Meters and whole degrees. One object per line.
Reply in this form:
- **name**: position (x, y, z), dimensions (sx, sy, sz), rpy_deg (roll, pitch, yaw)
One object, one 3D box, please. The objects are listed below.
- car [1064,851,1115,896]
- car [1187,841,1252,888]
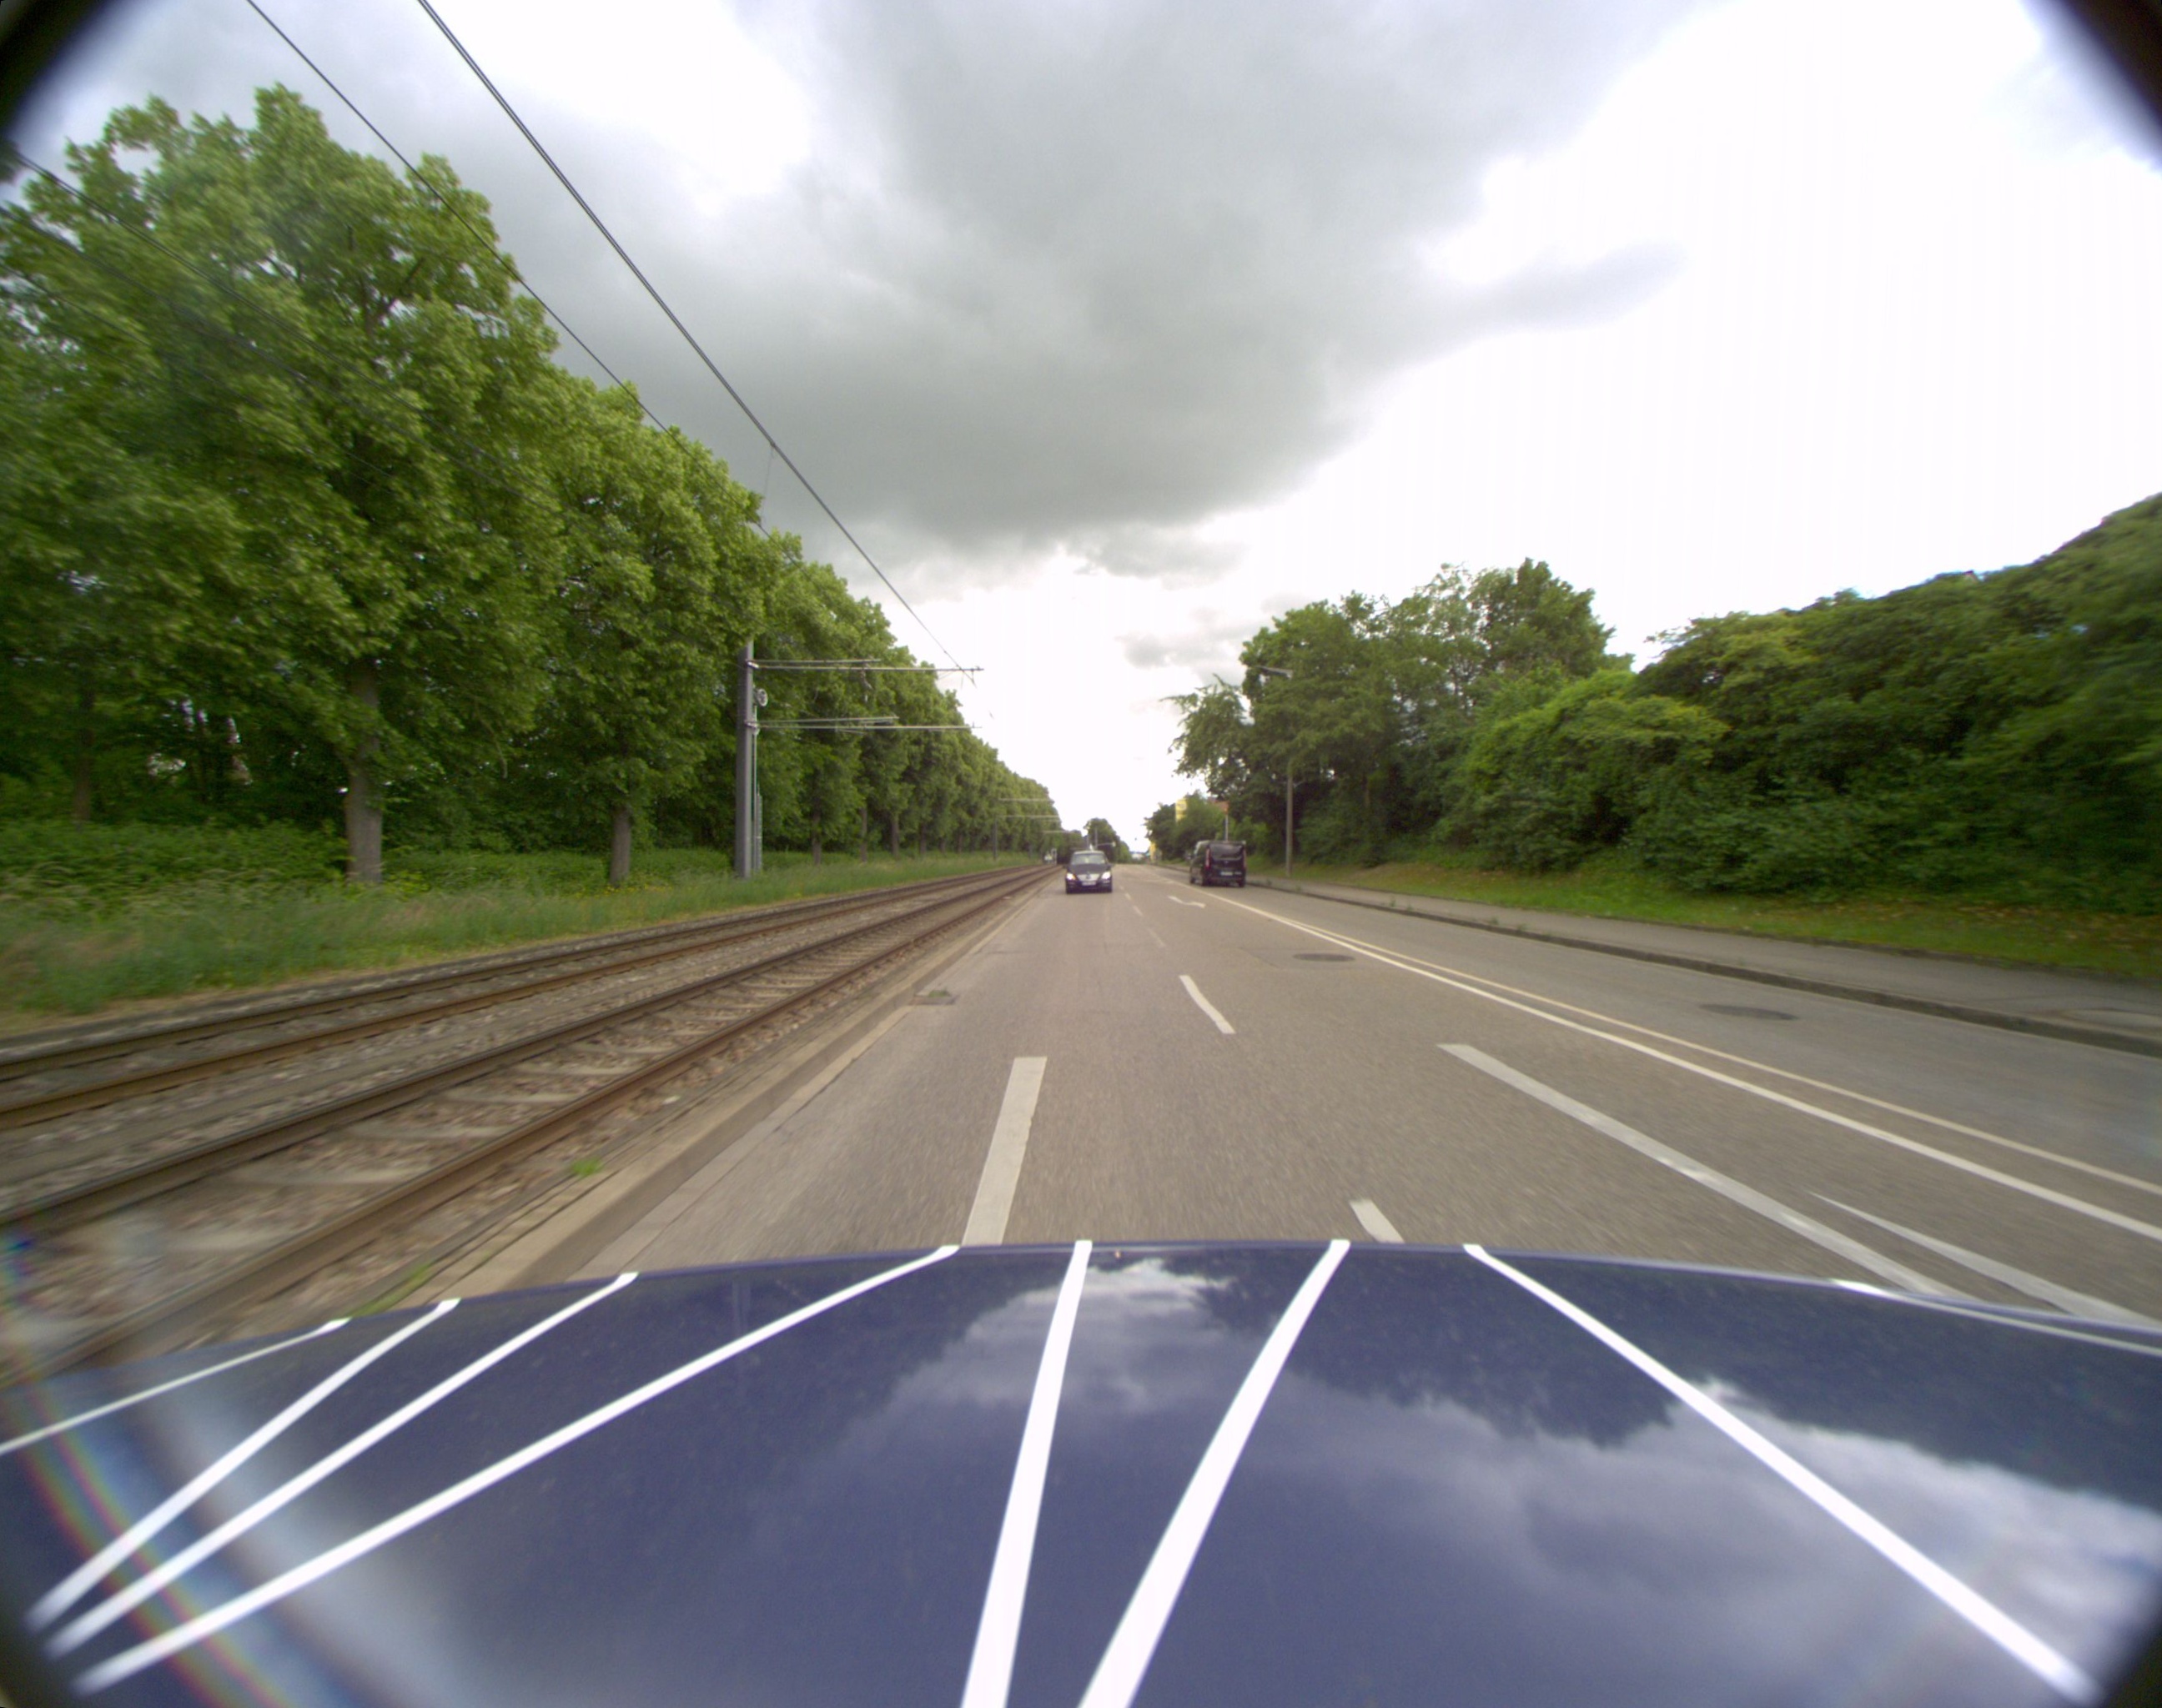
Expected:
- **car**: position (0.363, 0.684, 28.710), dimensions (1.749, 1.558, 4.121), rpy_deg (-1, 0, 1)
- **car**: position (6.338, 0.433, 35.441), dimensions (1.999, 2.024, 5.115), rpy_deg (1, 1, -1)
